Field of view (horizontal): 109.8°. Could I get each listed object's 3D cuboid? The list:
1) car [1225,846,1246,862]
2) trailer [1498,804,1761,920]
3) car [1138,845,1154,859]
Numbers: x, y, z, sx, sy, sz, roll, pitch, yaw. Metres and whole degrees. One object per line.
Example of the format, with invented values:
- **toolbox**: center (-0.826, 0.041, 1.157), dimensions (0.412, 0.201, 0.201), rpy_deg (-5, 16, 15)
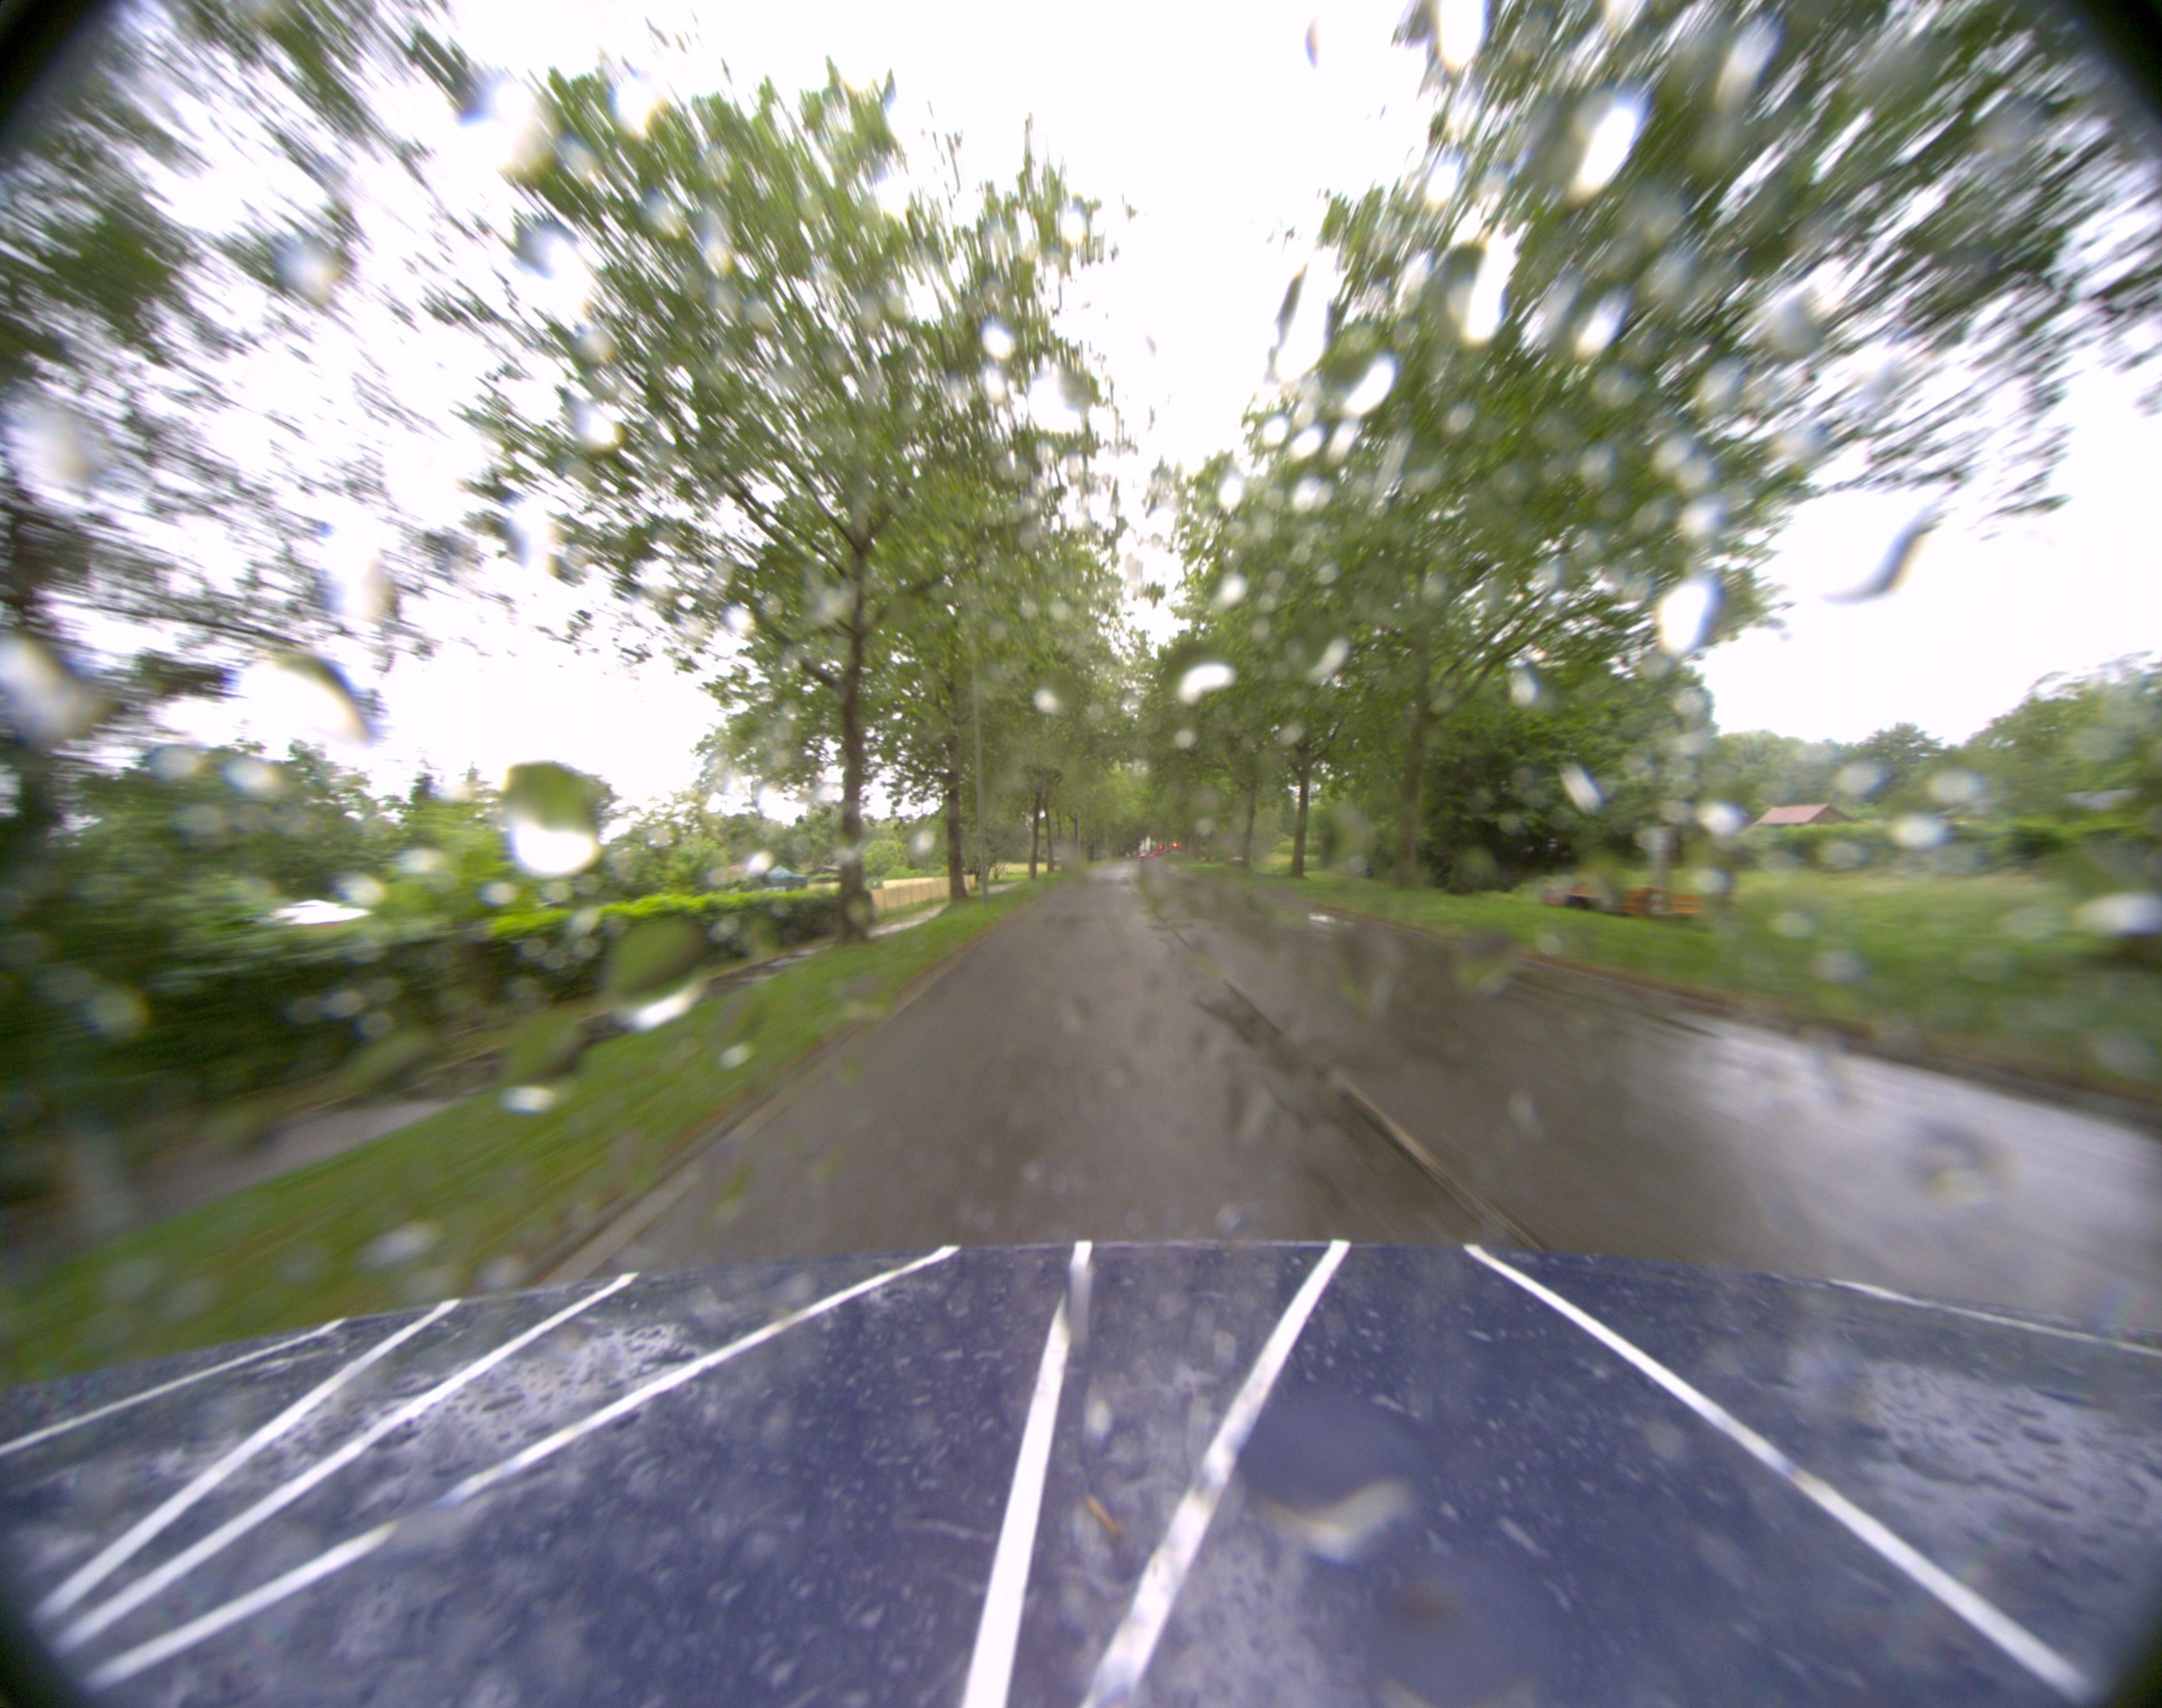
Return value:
- **car**: center (16.980, -0.017, 83.258), dimensions (1.896, 1.672, 4.004), rpy_deg (-2, 1, 15)
- **trailer**: center (14.919, 0.136, 21.475), dimensions (2.804, 2.648, 6.652), rpy_deg (-2, 1, 3)
- **car**: center (7.766, -0.257, 90.497), dimensions (1.593, 1.445, 3.373), rpy_deg (-2, 1, 1)
